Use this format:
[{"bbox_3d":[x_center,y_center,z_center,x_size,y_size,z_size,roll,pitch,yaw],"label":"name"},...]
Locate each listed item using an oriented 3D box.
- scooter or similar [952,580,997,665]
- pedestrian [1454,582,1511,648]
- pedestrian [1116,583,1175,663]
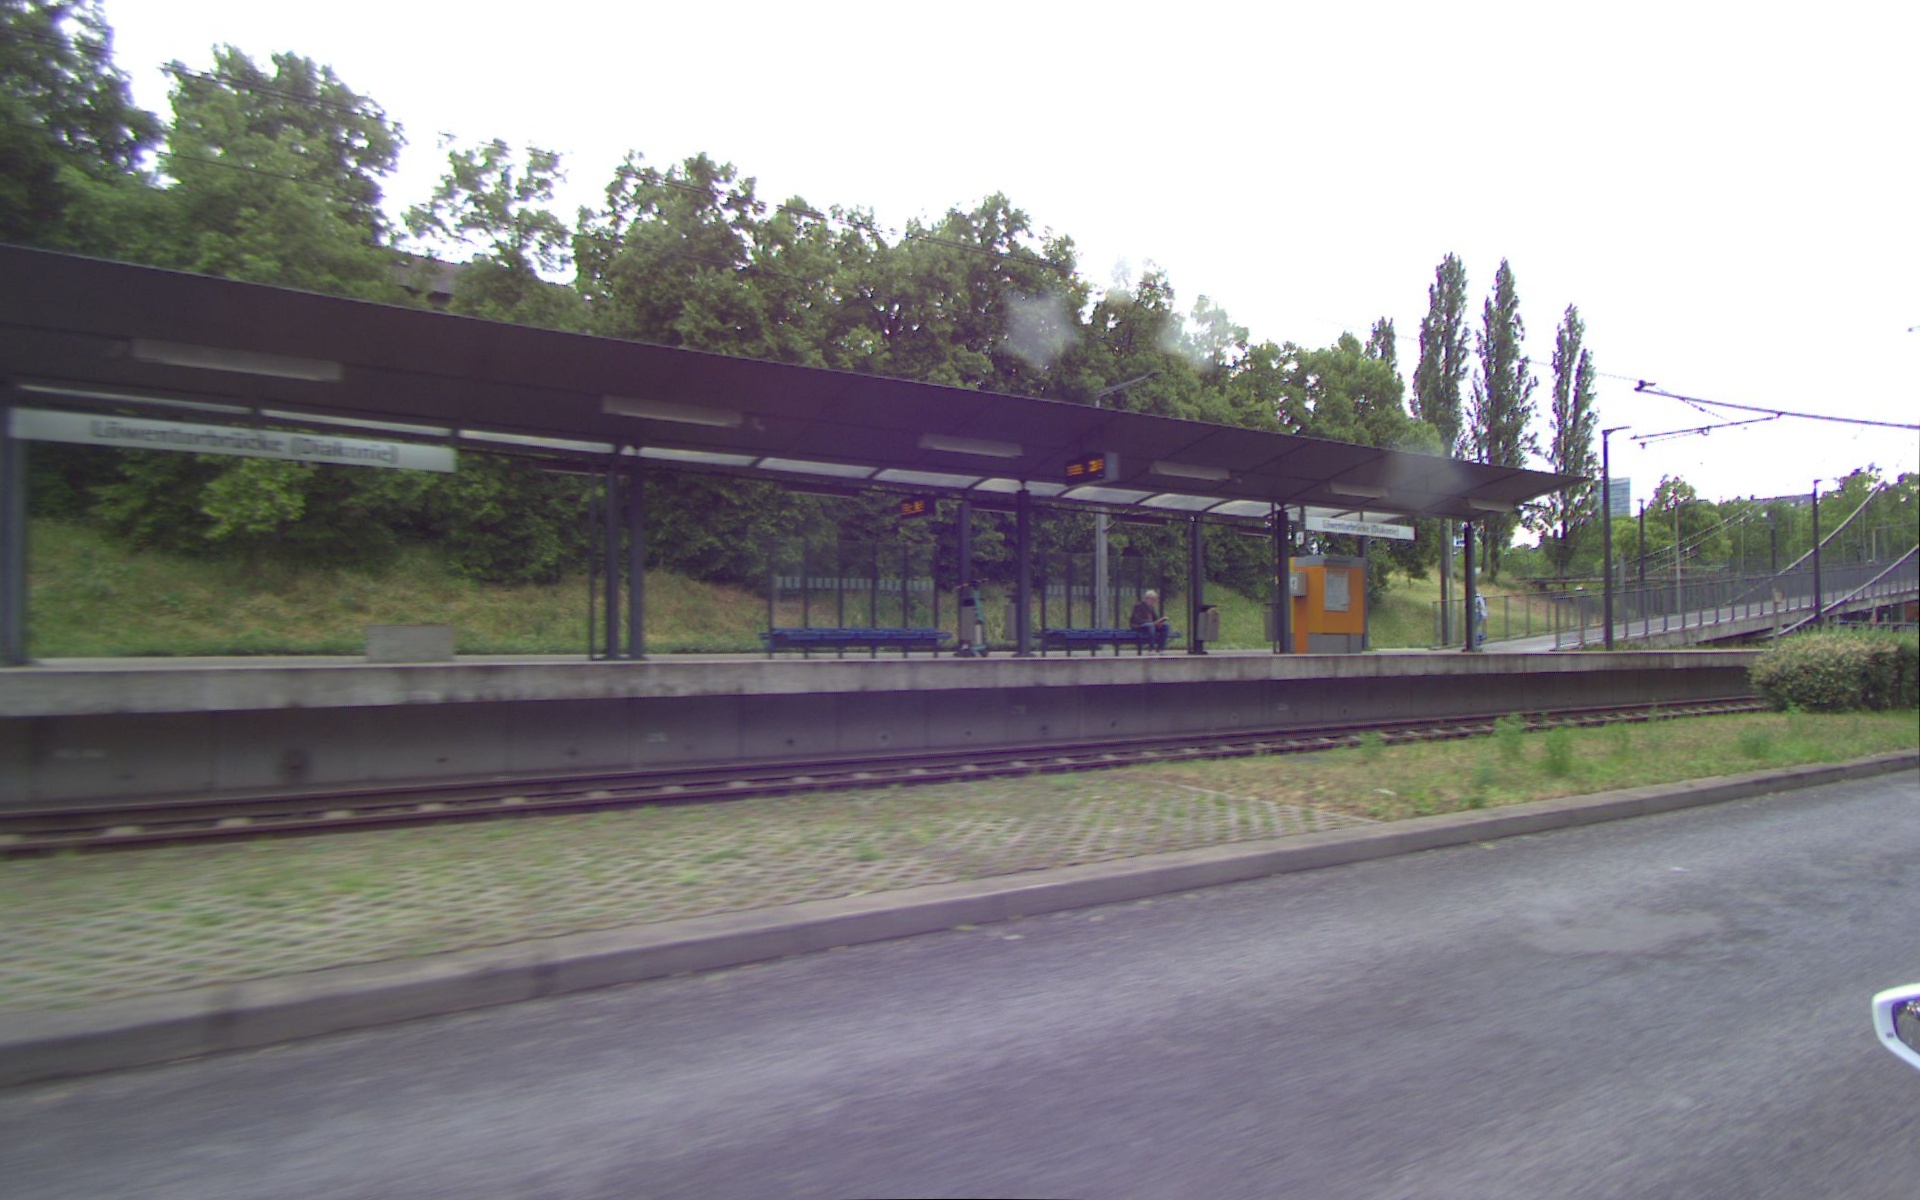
[{"bbox_3d":[0.231,0.341,15.327,0.372,1.234,1.301,2,-1,13],"label":"scooter or similar"},{"bbox_3d":[13.282,0.401,25.544,1.016,1.632,0.929,2,-2,-34],"label":"pedestrian"},{"bbox_3d":[3.257,0.410,17.652,0.685,1.373,0.748,2,-2,-34],"label":"pedestrian"}]
